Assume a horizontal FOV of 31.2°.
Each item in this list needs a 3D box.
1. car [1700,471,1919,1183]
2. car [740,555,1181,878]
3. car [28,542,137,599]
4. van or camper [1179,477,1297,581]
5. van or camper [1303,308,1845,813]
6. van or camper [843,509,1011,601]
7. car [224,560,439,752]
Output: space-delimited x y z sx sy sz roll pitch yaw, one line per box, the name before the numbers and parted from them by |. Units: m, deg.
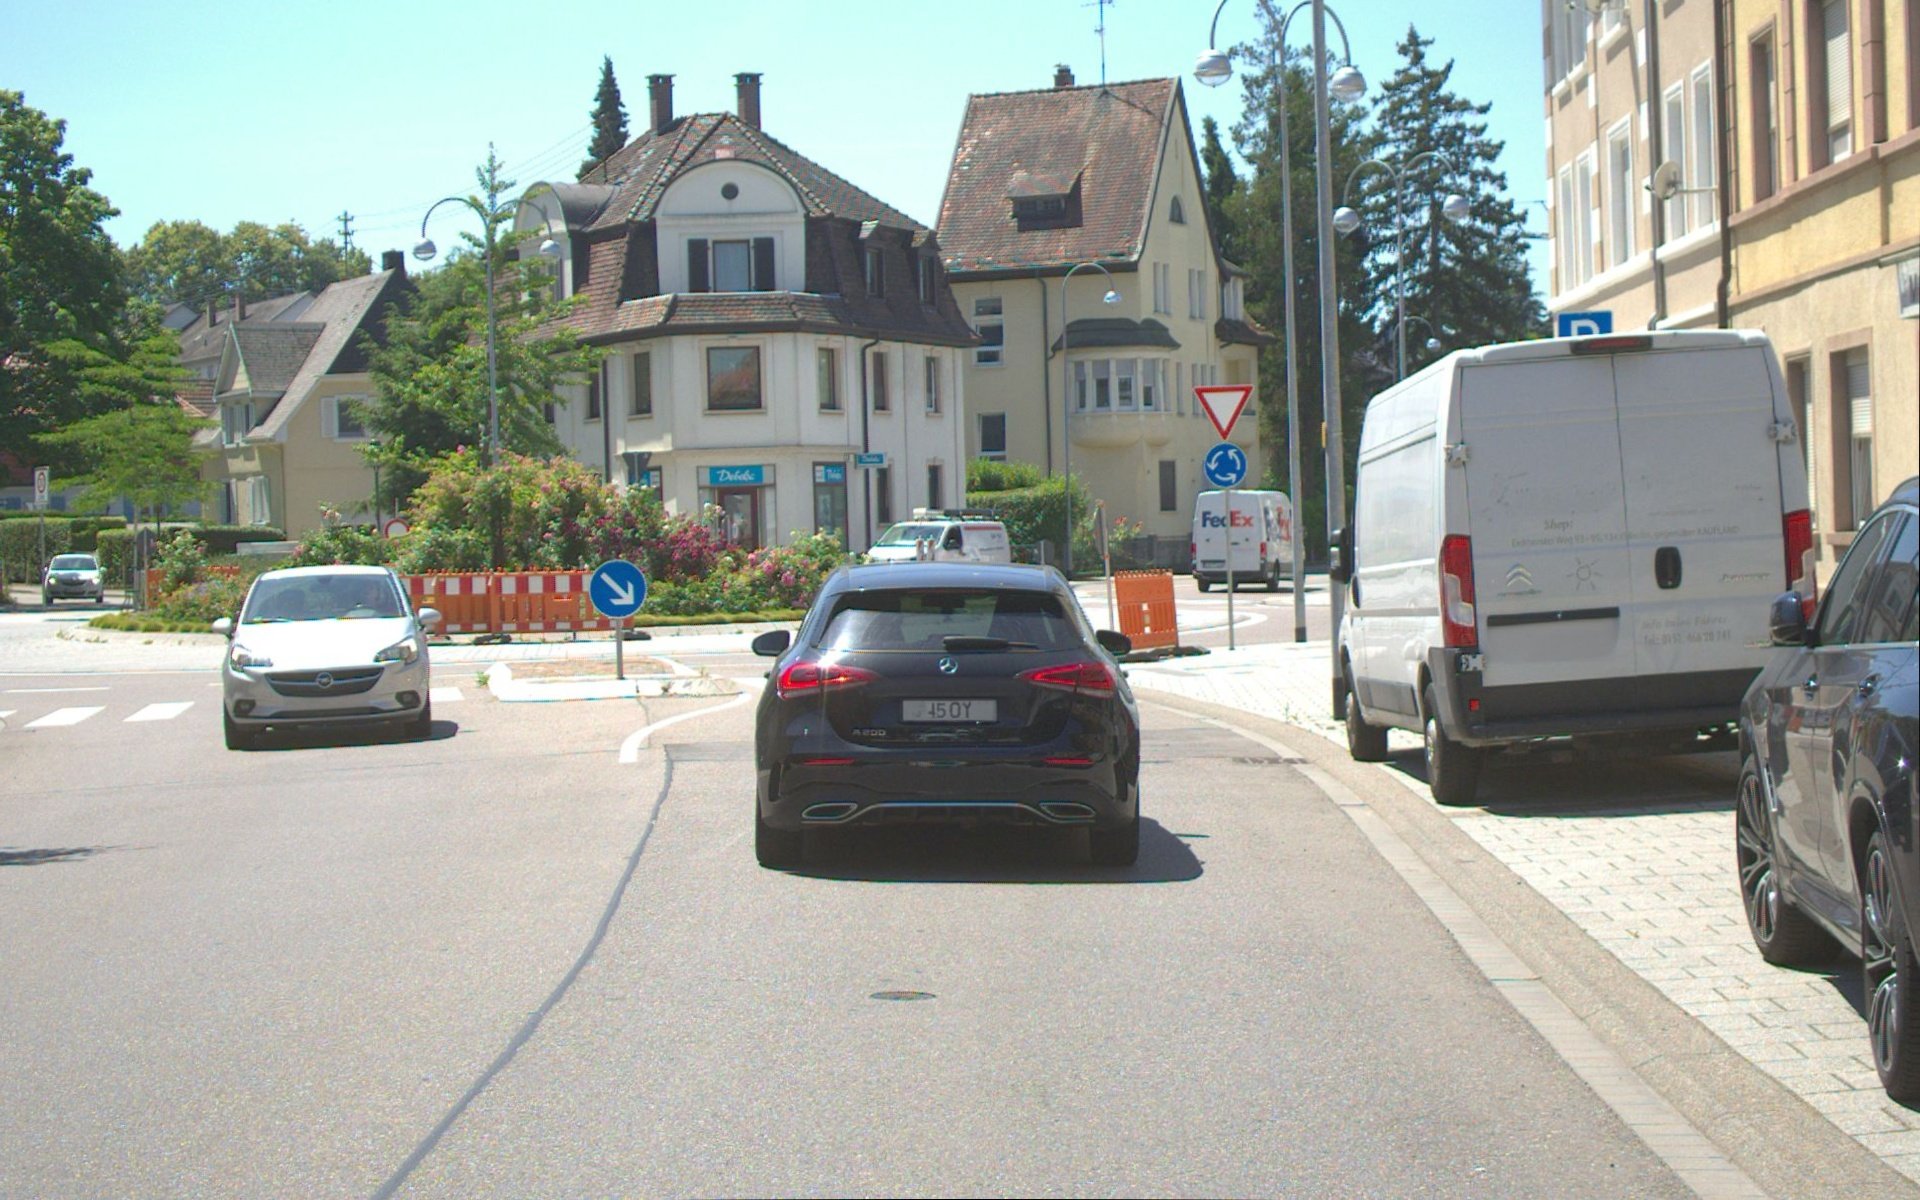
car | 3.313 0.434 9.796 1.896 1.602 4.363 -3 0 7
car | -0.041 0.504 17.238 1.953 1.422 4.000 0 0 -1
car | -26.567 -0.869 104.220 1.785 1.592 3.919 -1 -1 9
van or camper | 7.162 -1.822 88.144 2.207 2.601 3.997 0 1 17
van or camper | 3.537 -0.253 21.056 2.165 2.580 5.766 -2 1 0
van or camper | -0.759 -1.088 84.248 1.996 2.164 5.406 0 0 25
car | -5.350 0.430 29.602 1.659 1.491 3.760 -2 1 -9
